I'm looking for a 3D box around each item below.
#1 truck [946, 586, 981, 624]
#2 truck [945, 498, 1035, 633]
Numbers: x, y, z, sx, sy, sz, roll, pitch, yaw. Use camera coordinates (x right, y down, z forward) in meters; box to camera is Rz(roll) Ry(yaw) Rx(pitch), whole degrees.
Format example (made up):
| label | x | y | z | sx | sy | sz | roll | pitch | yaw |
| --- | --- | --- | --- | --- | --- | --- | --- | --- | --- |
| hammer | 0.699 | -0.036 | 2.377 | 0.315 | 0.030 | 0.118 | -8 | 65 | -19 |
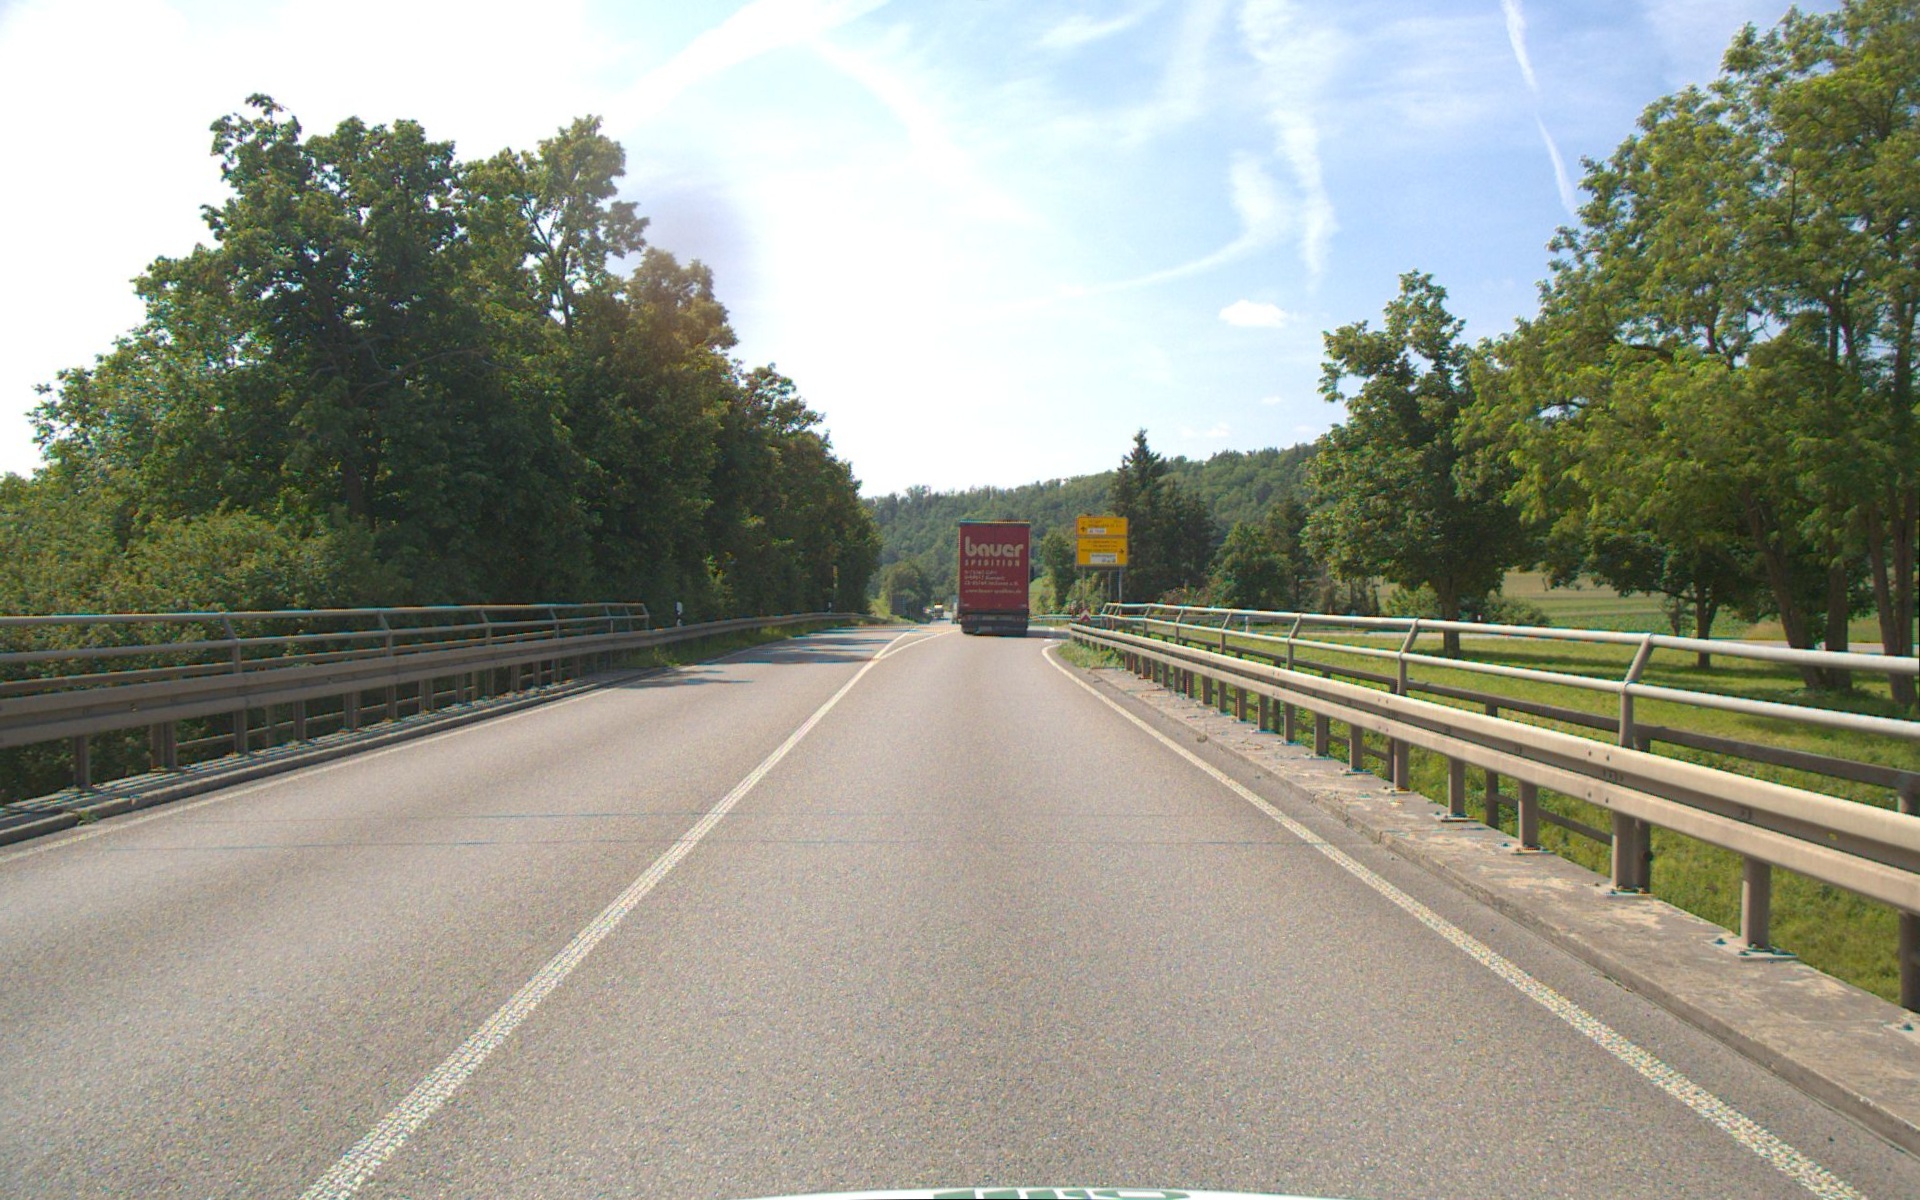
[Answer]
| label | x | y | z | sx | sy | sz | roll | pitch | yaw |
| --- | --- | --- | --- | --- | --- | --- | --- | --- | --- |
| truck | 0.375 | 0.701 | 211.554 | 3.826 | 4.446 | 13.286 | 3 | -1 | -2 |
| truck | 1.145 | -1.279 | 64.851 | 3.107 | 4.706 | 13.545 | 1 | 1 | 1 |
